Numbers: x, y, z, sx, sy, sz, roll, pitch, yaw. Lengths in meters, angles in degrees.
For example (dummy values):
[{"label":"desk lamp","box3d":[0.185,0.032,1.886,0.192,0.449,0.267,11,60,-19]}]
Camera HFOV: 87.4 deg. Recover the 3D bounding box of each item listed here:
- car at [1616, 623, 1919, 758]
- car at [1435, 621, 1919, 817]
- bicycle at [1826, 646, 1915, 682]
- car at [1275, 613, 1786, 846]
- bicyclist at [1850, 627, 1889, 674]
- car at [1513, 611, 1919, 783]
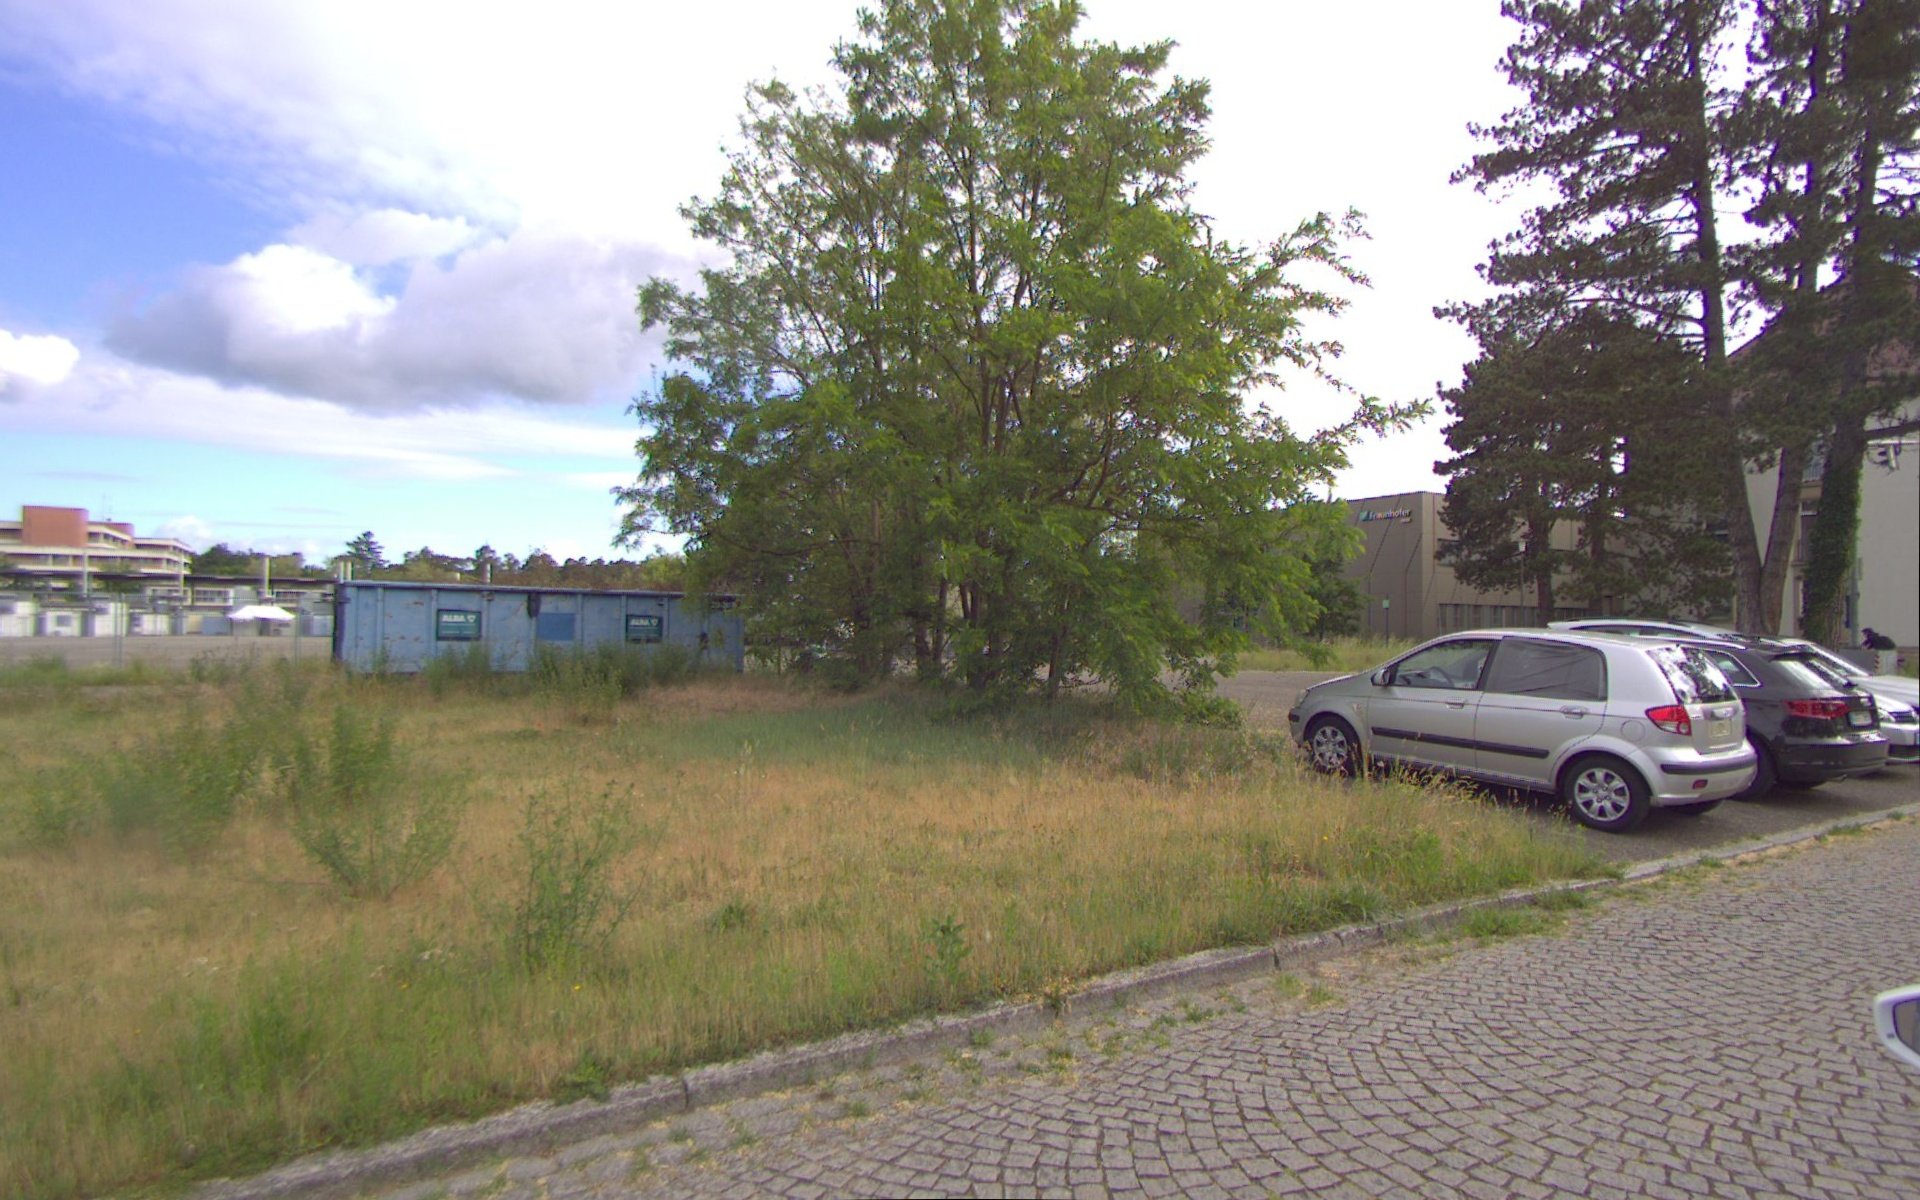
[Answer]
[{"label":"car","box3d":[11.346,1.128,13.478,1.631,1.440,3.927,1,1,-31]},{"label":"car","box3d":[7.097,1.035,10.319,1.566,1.448,3.723,1,1,-33]},{"label":"bicycle","box3d":[27.999,1.944,30.922,0.598,1.038,1.945,1,-1,-30]},{"label":"car","box3d":[4.860,0.952,9.061,1.566,1.499,3.680,1,1,-33]},{"label":"bicyclist","box3d":[27.997,1.551,30.931,0.598,1.429,0.745,1,-1,-31]},{"label":"car","box3d":[9.165,1.019,12.244,1.633,1.584,3.924,1,1,-33]}]
